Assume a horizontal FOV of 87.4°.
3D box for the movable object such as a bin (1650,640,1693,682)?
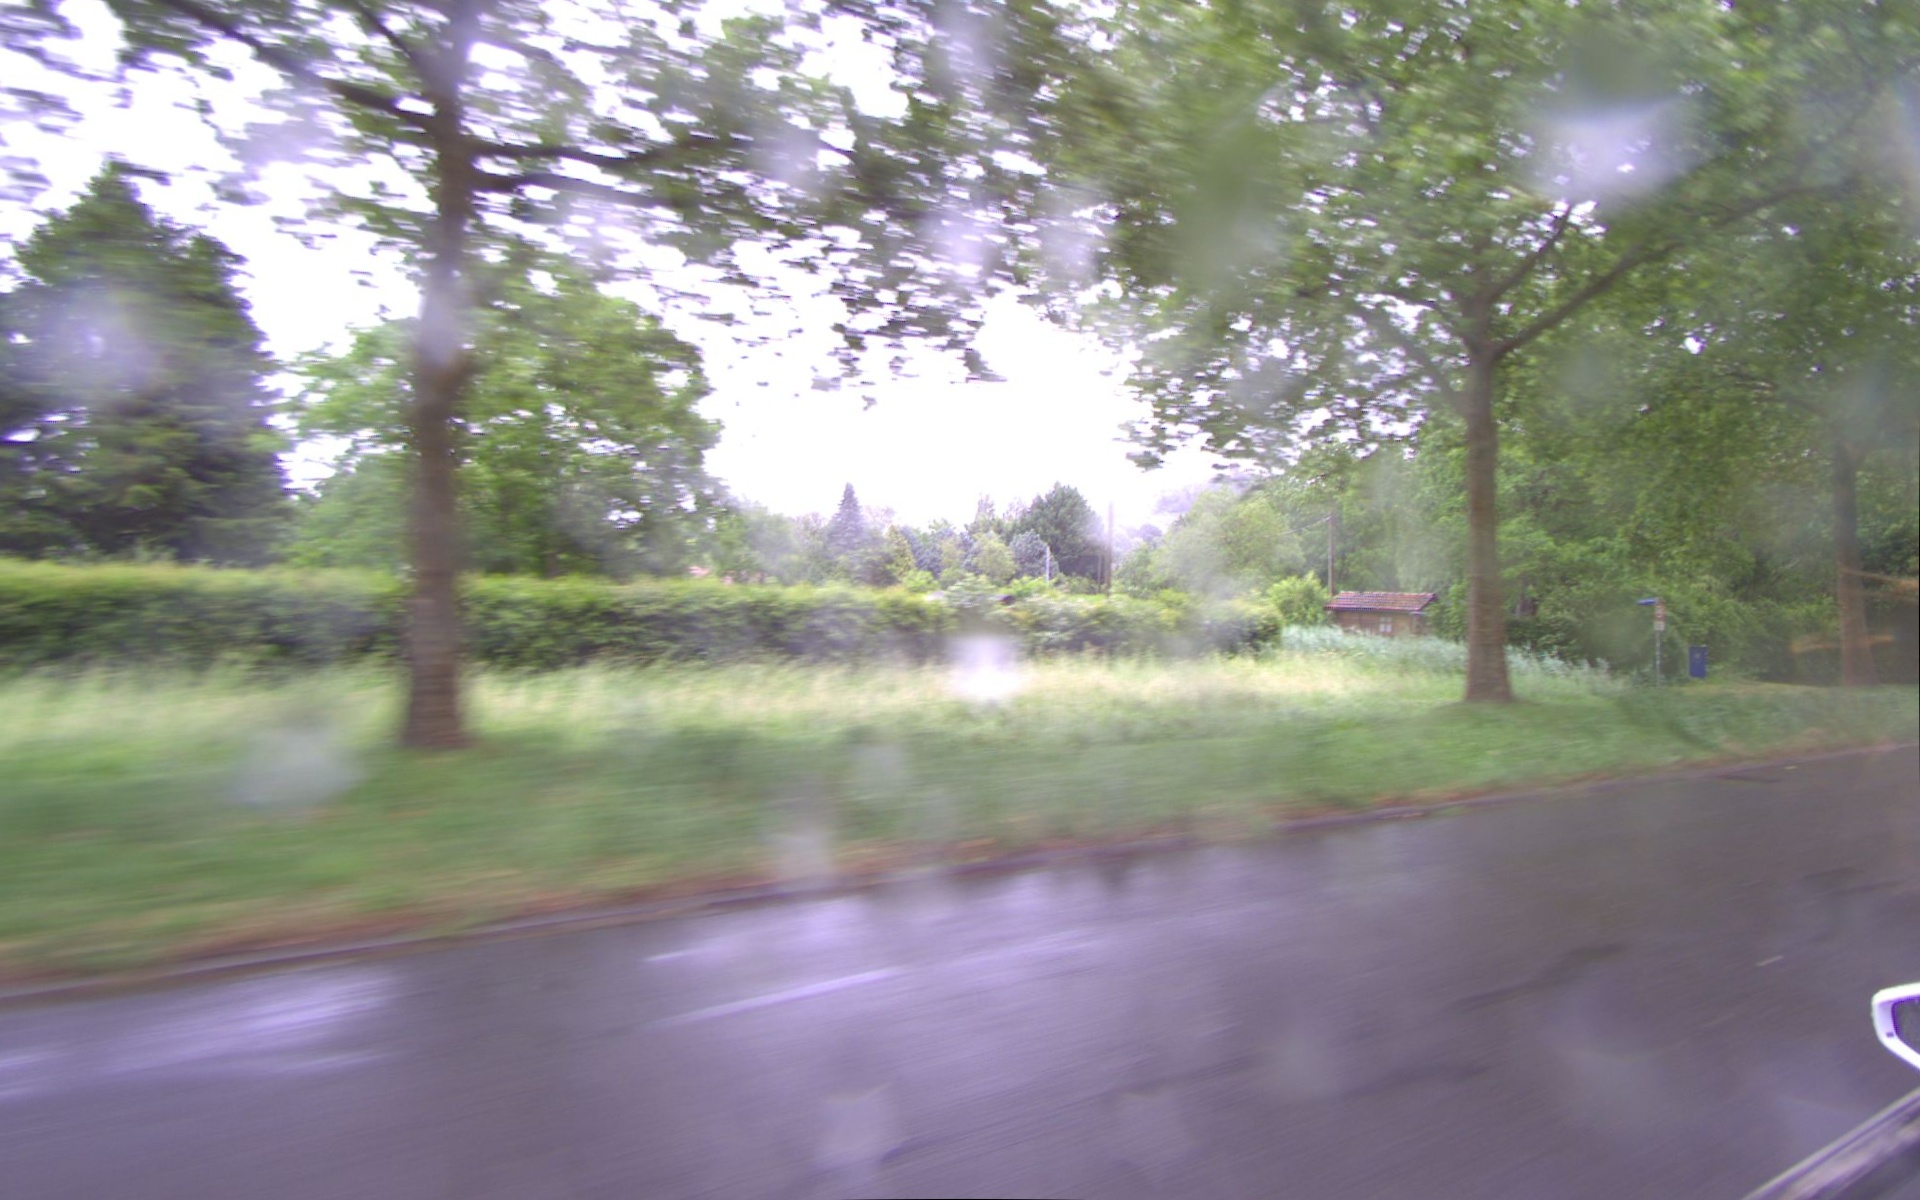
[{"bbox_3d":[25.783,2.180,36.383,0.956,1.441,0.957,1,1,-34],"label":"movable object such as a bin"}]
